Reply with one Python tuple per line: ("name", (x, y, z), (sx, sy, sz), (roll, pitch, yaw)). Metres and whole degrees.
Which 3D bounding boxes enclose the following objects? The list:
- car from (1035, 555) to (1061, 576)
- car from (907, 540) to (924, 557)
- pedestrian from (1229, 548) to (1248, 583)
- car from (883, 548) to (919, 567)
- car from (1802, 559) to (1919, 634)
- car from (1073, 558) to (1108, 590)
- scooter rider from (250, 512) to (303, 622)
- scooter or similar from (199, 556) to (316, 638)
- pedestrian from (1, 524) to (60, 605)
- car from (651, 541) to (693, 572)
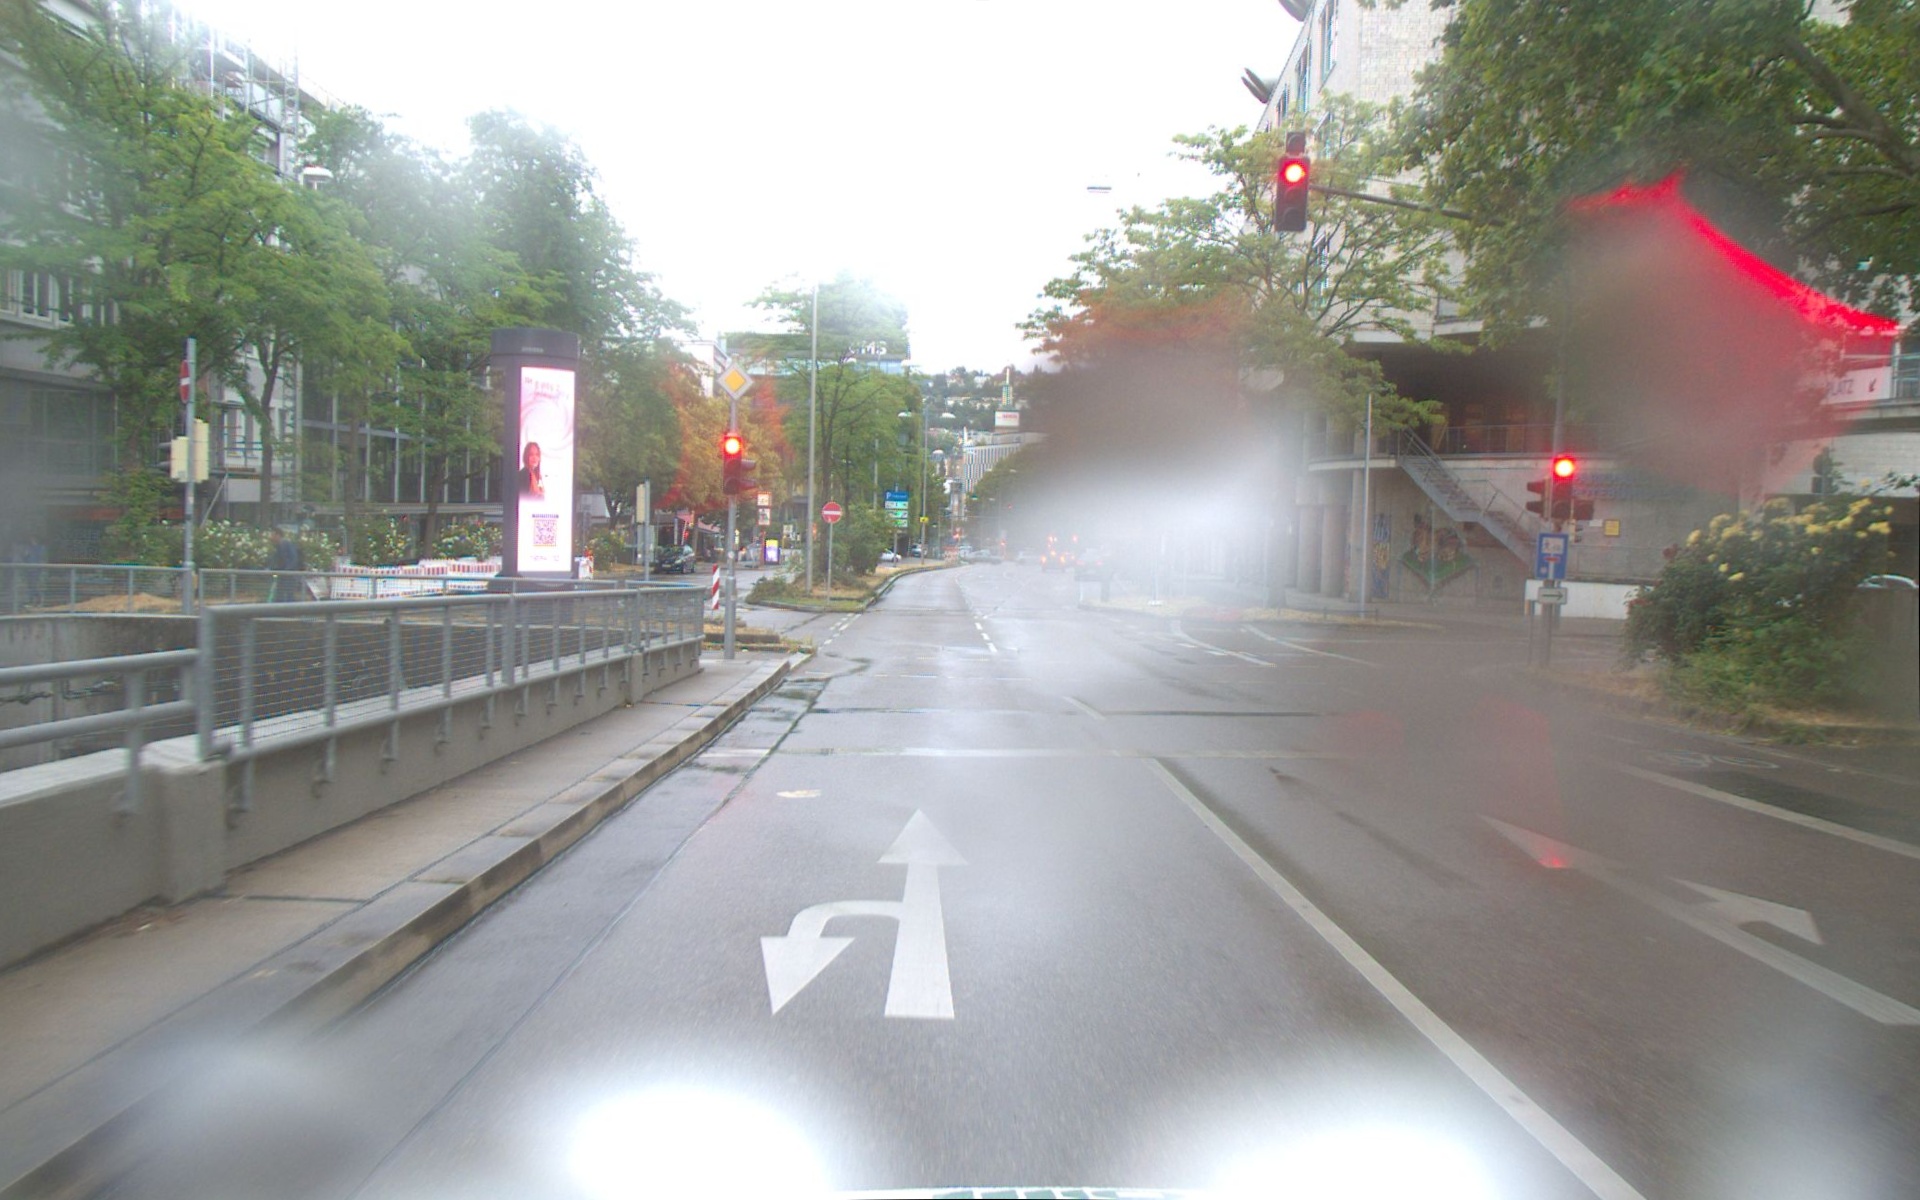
("car", (6.772, -2.629, 127.345), (1.710, 1.545, 4.106), (2, 1, -1))
("car", (-6.306, -7.300, 235.195), (2.084, 2.202, 5.199), (2, 1, 2))
("pedestrian", (13.069, -1.618, 77.666), (0.769, 1.584, 0.533), (2, 1, 4))
("car", (-6.749, -4.869, 189.780), (3.979, 1.938, 1.951), (2, 1, -7))
("car", (23.070, -0.066, 40.918), (4.289, 1.713, 1.737), (2, 1, -26))
("car", (7.416, -1.464, 94.557), (1.861, 1.713, 3.913), (2, 1, 3))
("scooter rider", (-12.678, -0.613, 30.696), (0.808, 1.982, 0.806), (2, 1, -20))
("scooter or similar", (-12.945, -0.047, 30.539), (1.920, 1.443, 0.544), (2, 1, -21))
("pedestrian", (-22.511, -0.857, 40.069), (0.859, 1.900, 0.867), (2, 1, -1))
("car", (-16.318, -2.481, 93.859), (1.744, 1.582, 3.893), (2, 3, -2))
